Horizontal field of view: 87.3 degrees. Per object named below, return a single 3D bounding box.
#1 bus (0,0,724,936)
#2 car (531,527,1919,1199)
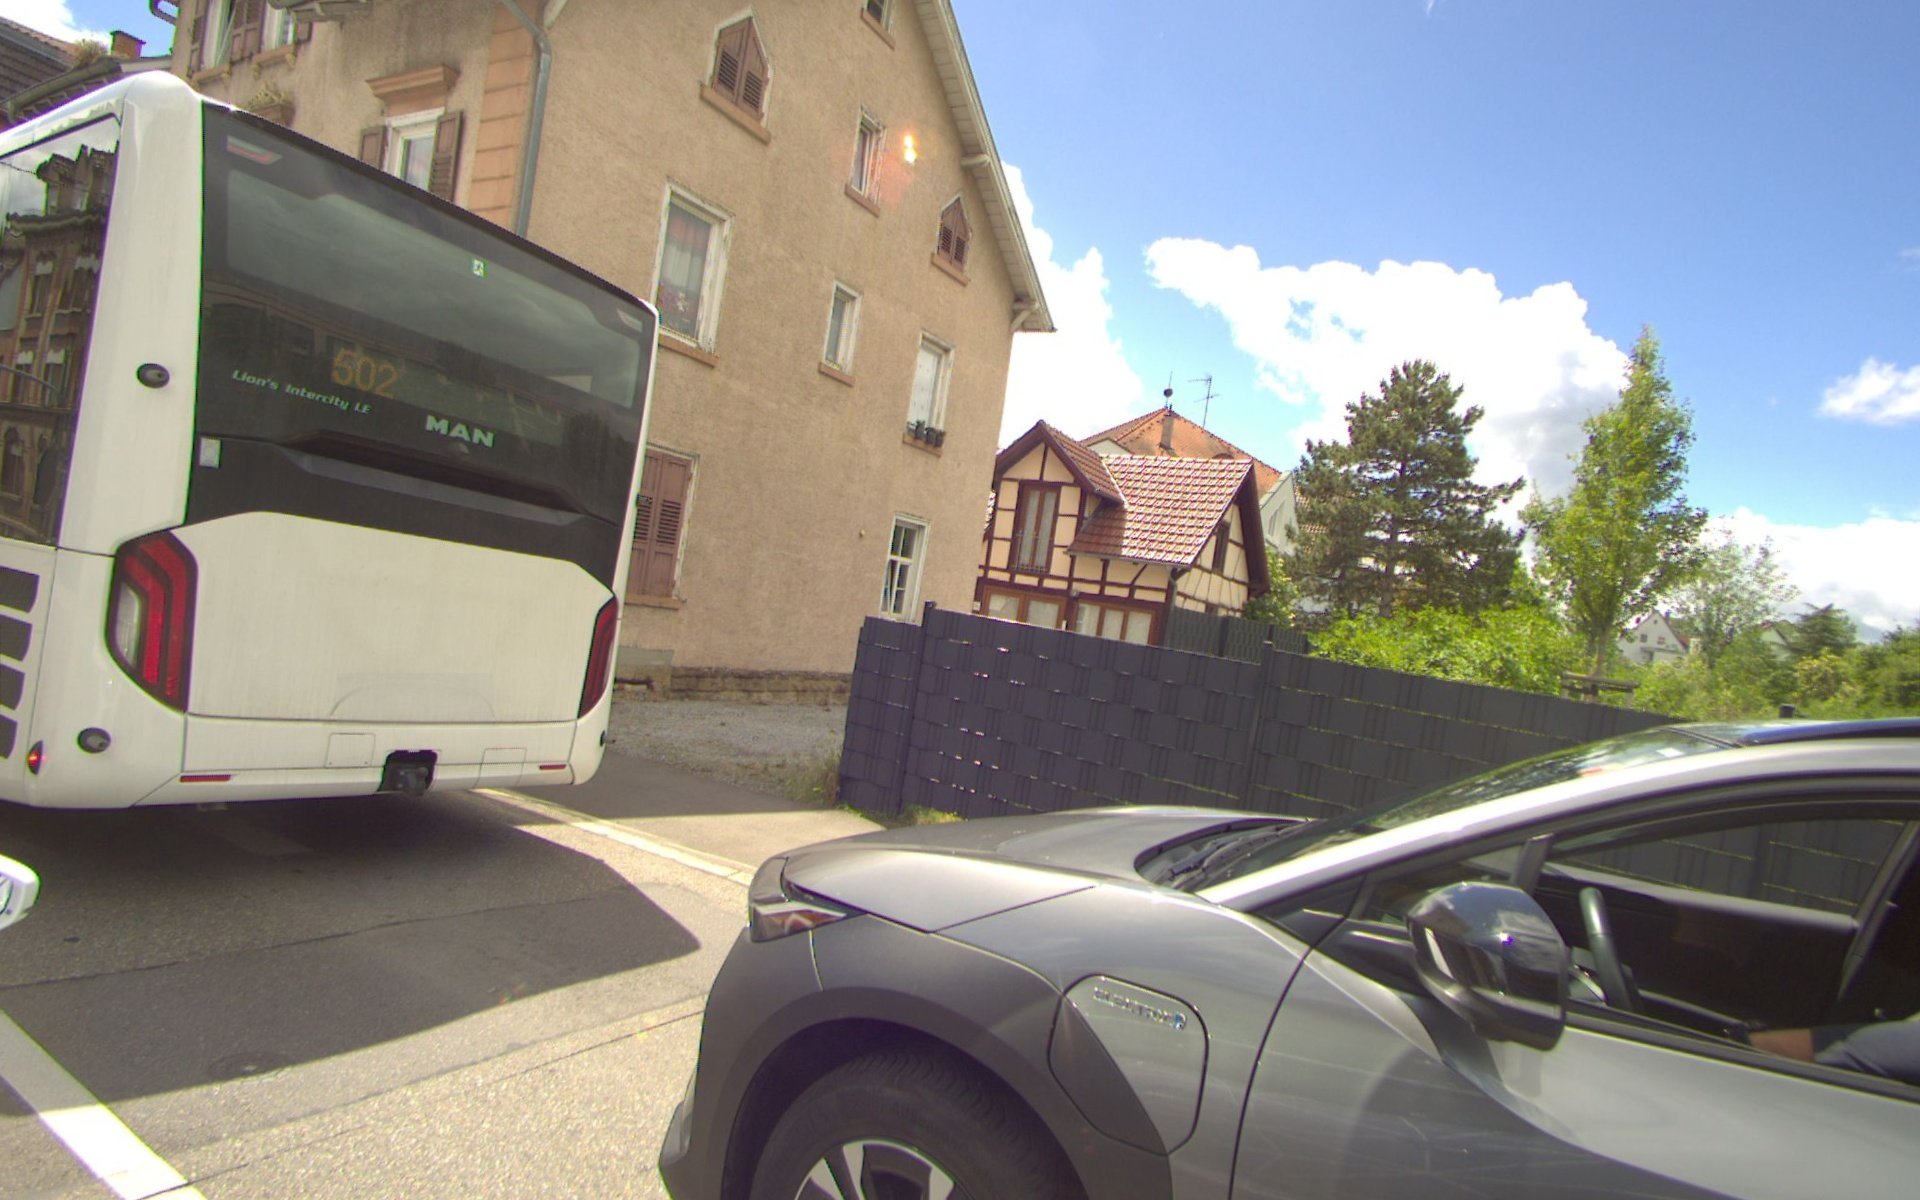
[{"bbox_3d":[-7.507,-1.055,7.794,12.281,3.551,2.910,6,-2,32],"label":"bus"},{"bbox_3d":[1.570,0.971,1.848,4.504,1.648,1.997,7,-1,31],"label":"car"}]
